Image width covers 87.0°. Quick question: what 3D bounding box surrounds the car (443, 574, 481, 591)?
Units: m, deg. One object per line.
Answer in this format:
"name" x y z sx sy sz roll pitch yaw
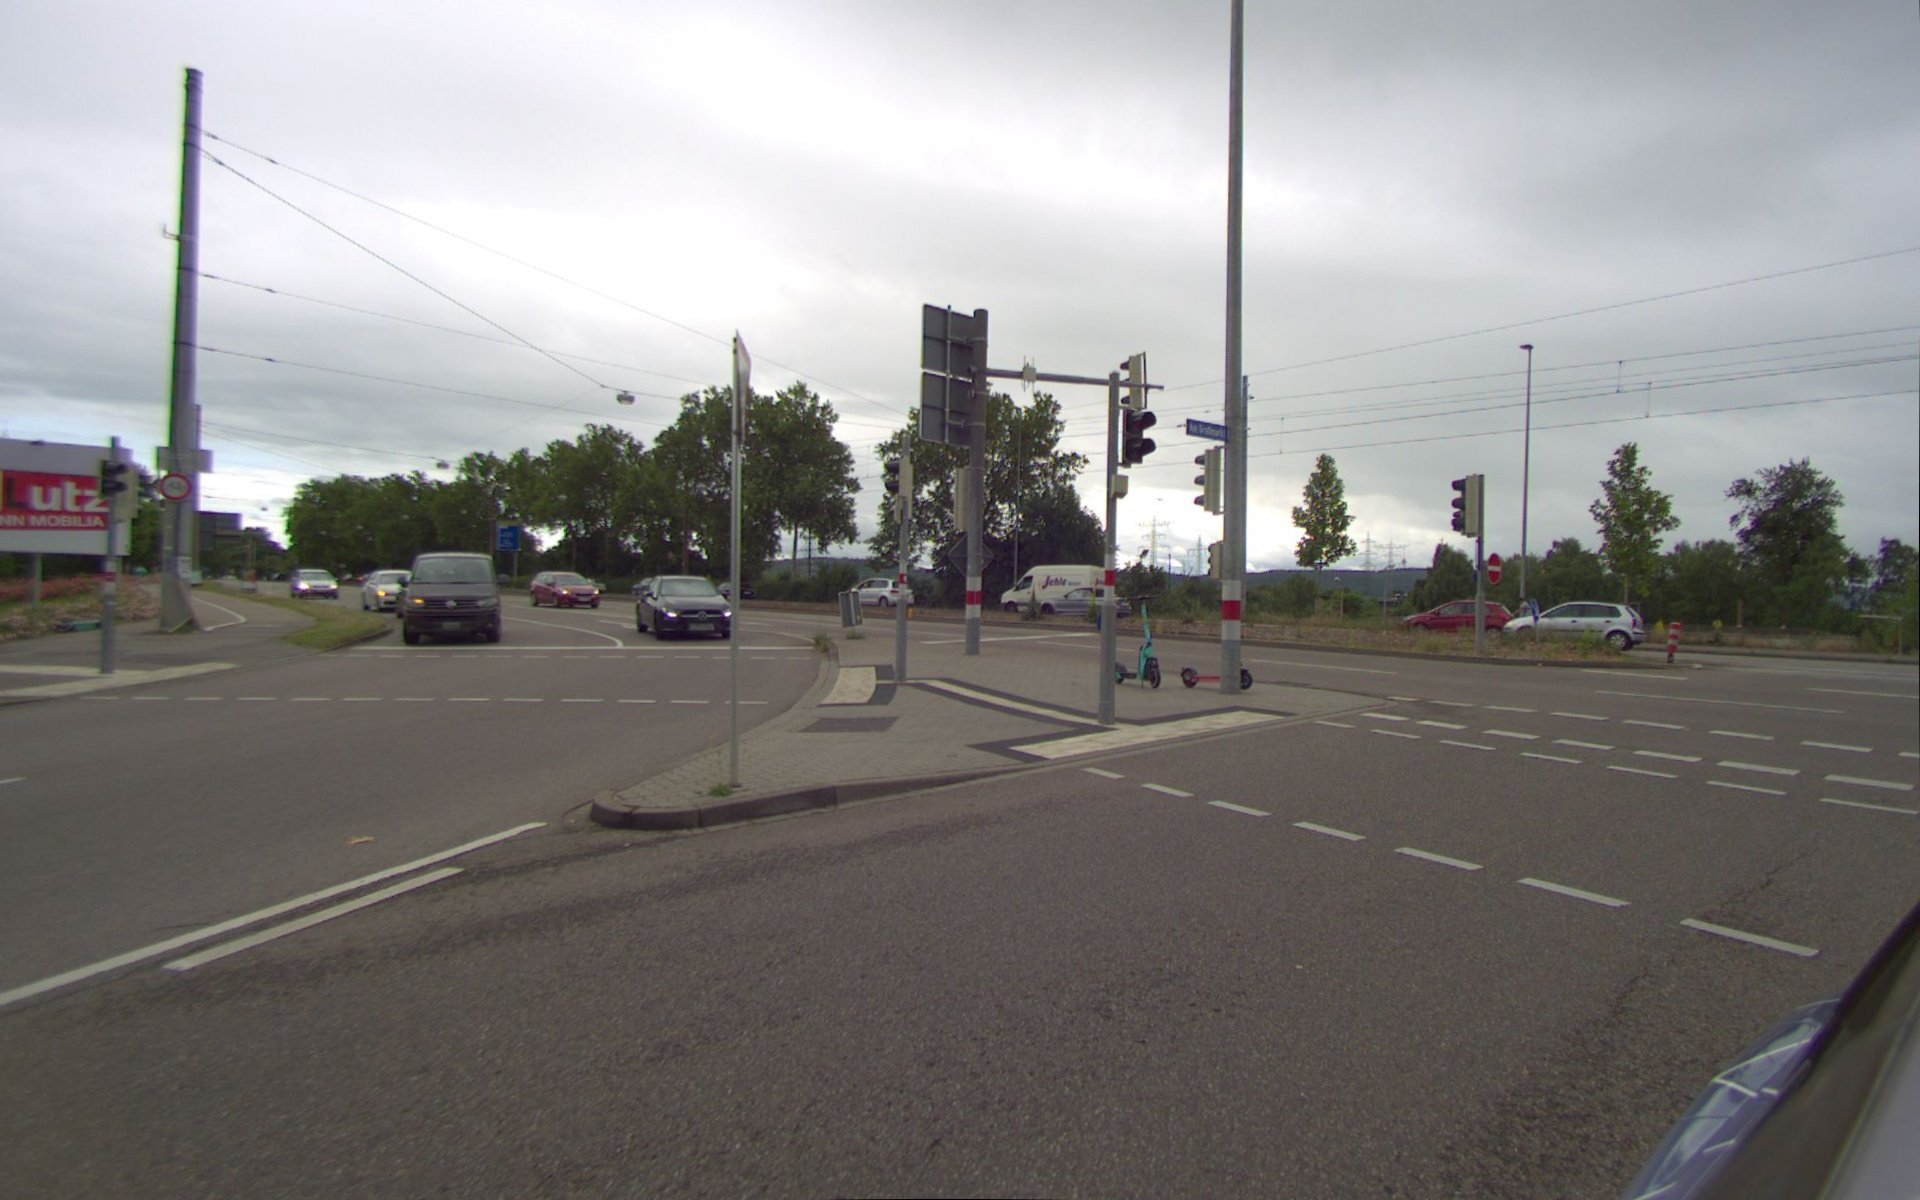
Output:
"car" -49.706 -1.763 101.008 4.299 1.657 1.810 2 0 41

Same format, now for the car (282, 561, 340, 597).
"car" -32.434 -1.012 50.520 1.717 1.622 4.067 3 -2 -42

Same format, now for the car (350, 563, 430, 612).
"car" -20.188 -0.451 35.762 1.702 1.558 4.041 3 -1 -40

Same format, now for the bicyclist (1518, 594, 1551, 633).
"bicyclist" 22.587 0.528 39.779 0.964 1.471 0.682 3 3 41

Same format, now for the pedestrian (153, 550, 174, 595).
"pedestrian" -32.638 -1.121 41.486 0.537 1.805 0.633 4 -3 -43

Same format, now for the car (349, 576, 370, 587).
"car" -85.619 -2.605 144.289 1.723 1.449 3.367 4 -1 -44

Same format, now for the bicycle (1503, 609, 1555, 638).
"bicycle" 22.470 0.912 39.948 1.702 1.058 0.541 3 3 41

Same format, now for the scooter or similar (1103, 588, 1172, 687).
"scooter or similar" 2.406 0.486 13.809 0.314 1.271 1.117 -1 2 -27

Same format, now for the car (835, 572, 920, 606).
"car" -4.239 -0.577 51.626 4.181 1.572 1.834 2 -1 40

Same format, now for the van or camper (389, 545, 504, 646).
"van or camper" -11.602 -0.203 23.121 2.080 2.038 4.763 -1 3 -25

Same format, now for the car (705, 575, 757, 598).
"car" -16.146 -0.914 71.260 1.710 1.498 4.310 3 -2 -42

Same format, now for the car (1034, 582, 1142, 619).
"car" 5.520 0.020 43.837 4.326 1.408 1.848 2 -1 42

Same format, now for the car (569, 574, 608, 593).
"car" -32.980 -1.443 89.816 3.619 1.528 1.707 2 -1 42

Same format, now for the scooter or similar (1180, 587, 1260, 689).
"scooter or similar" 3.409 0.470 13.330 0.455 1.271 1.020 0 2 -27

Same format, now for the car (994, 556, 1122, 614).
"car" 4.819 -0.775 50.473 5.874 2.659 2.625 2 -1 41

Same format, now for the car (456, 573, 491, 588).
"car" -53.792 -2.162 111.804 4.299 1.582 1.834 1 -3 41

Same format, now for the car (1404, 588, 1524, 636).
"car" 18.681 0.438 37.546 3.750 1.581 1.634 2 -1 37

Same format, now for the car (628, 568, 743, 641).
"car" -6.676 0.031 24.318 1.800 1.481 4.215 -1 3 -27

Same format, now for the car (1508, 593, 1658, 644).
"car" 19.581 0.572 31.891 3.832 1.437 1.659 2 -1 40

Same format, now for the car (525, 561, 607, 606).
"car" -16.387 -0.689 42.017 1.965 1.749 3.994 0 1 -41
